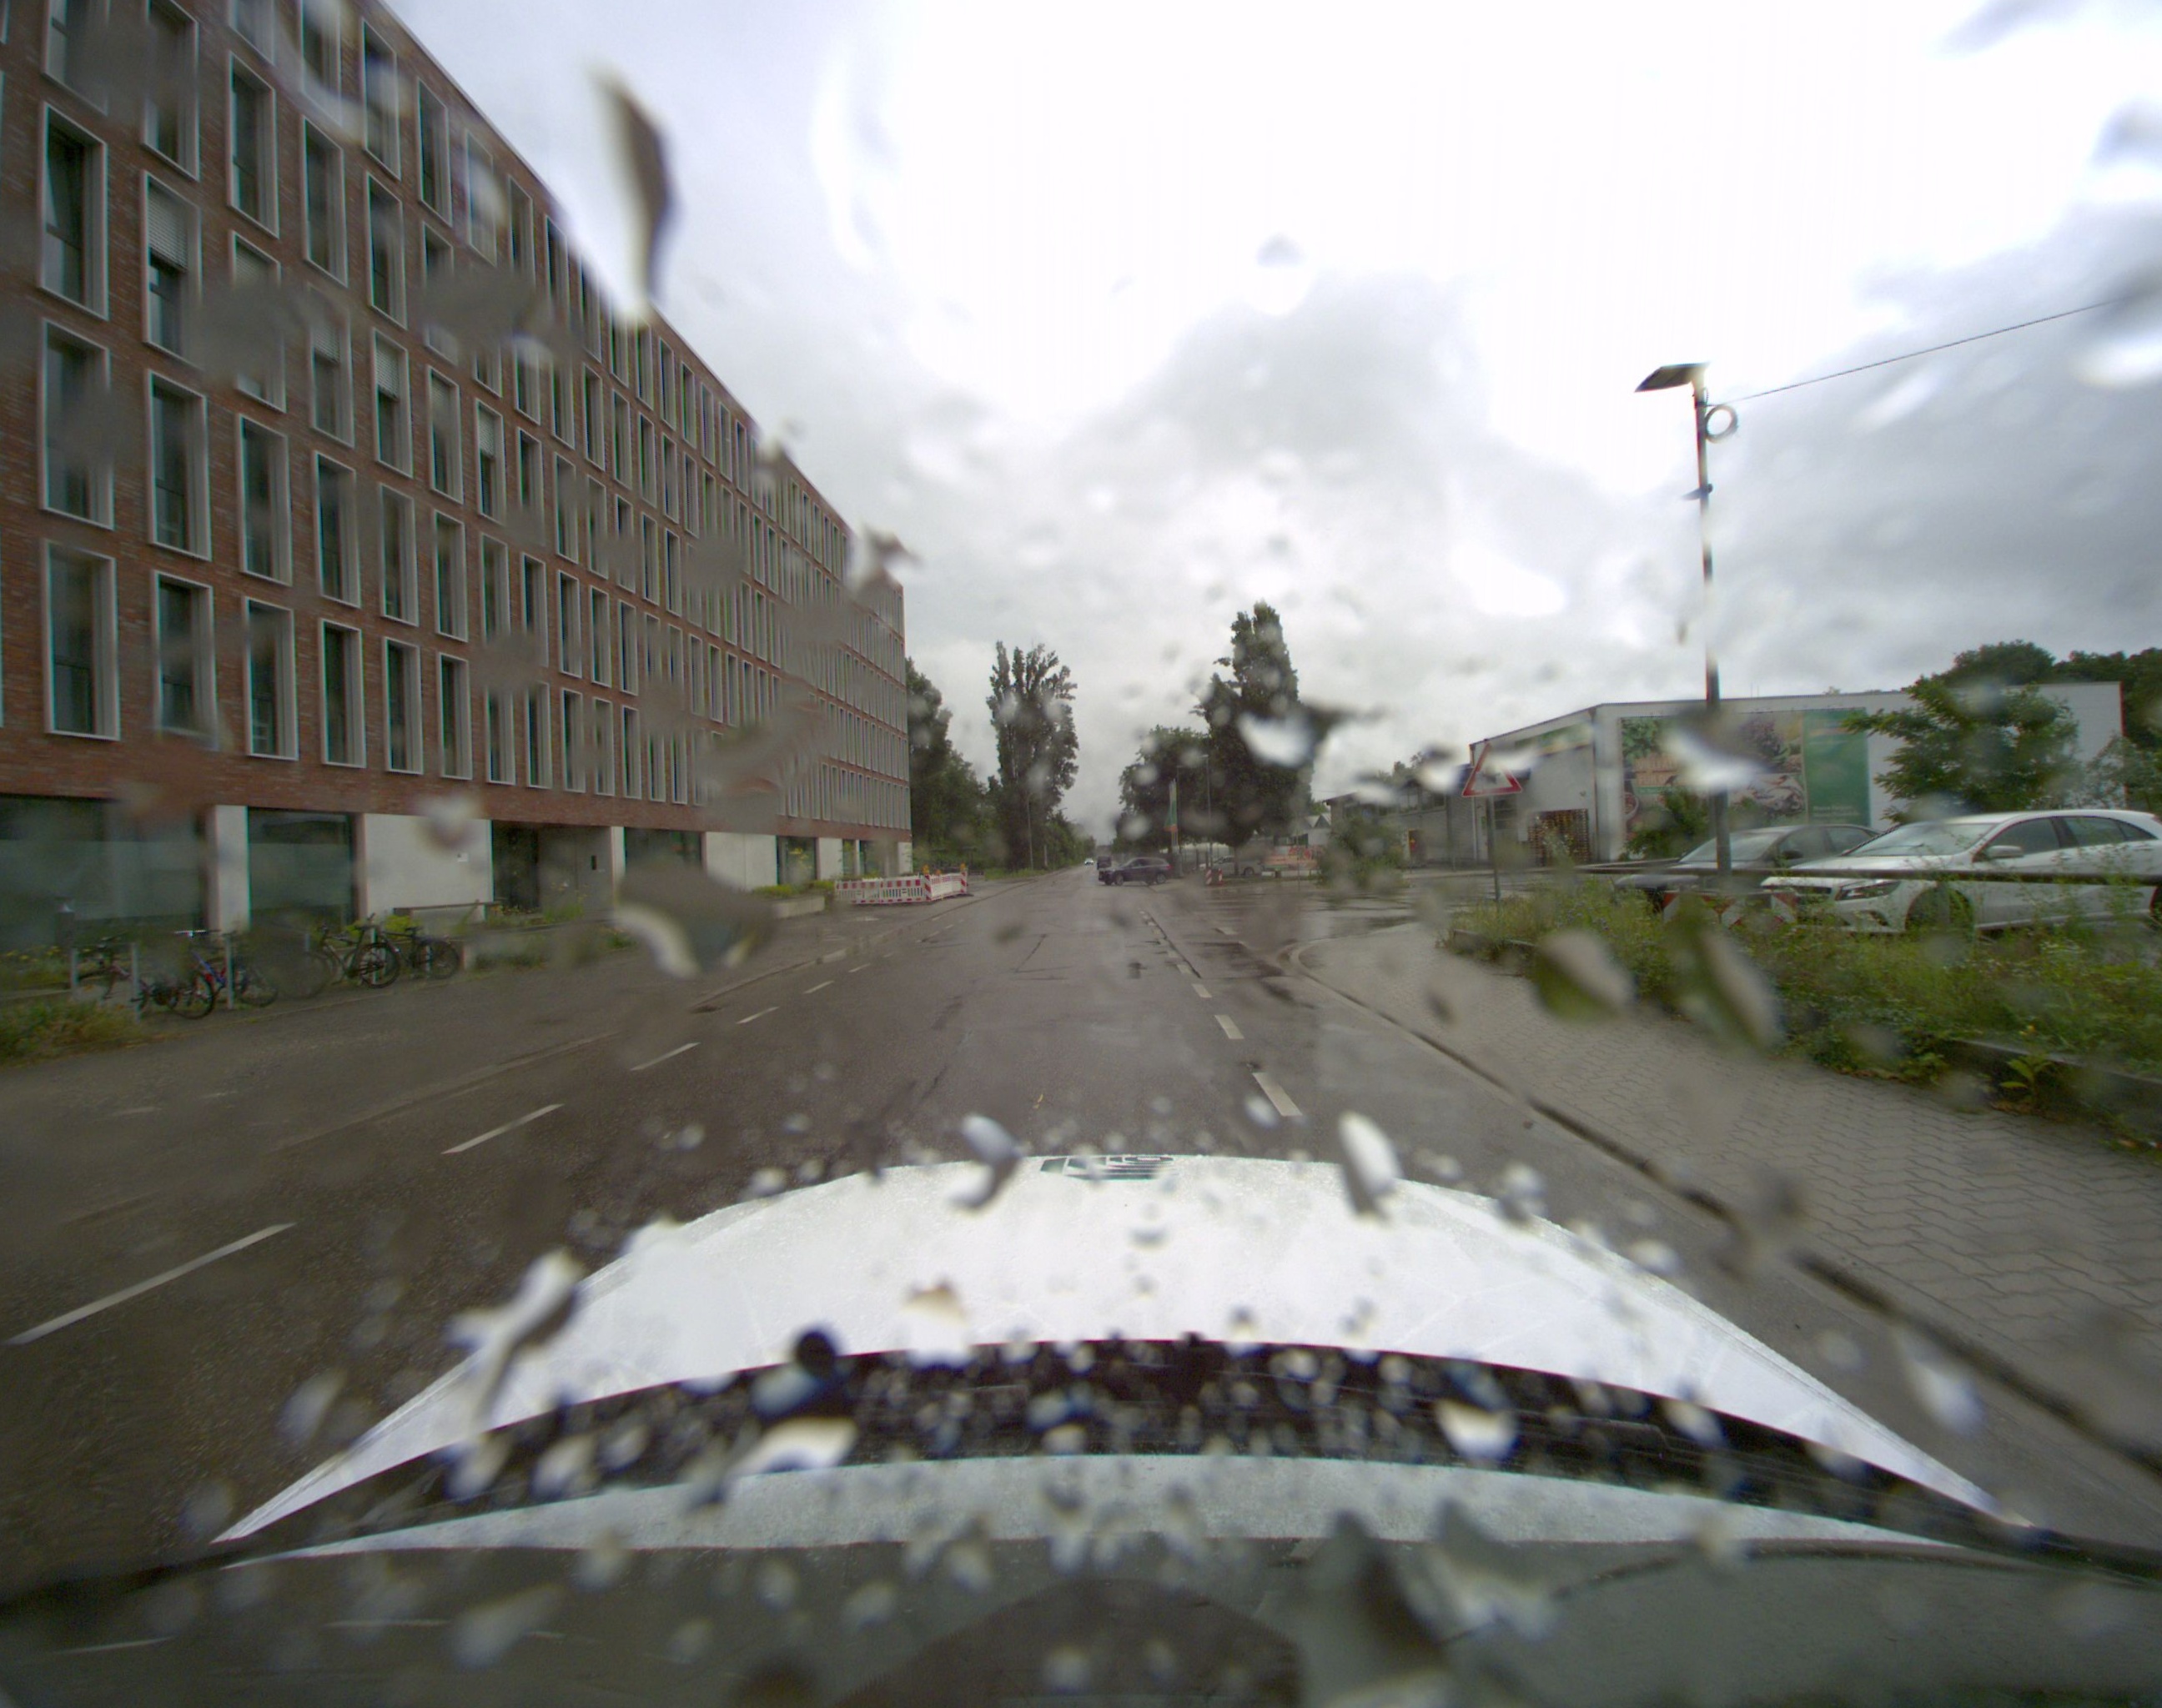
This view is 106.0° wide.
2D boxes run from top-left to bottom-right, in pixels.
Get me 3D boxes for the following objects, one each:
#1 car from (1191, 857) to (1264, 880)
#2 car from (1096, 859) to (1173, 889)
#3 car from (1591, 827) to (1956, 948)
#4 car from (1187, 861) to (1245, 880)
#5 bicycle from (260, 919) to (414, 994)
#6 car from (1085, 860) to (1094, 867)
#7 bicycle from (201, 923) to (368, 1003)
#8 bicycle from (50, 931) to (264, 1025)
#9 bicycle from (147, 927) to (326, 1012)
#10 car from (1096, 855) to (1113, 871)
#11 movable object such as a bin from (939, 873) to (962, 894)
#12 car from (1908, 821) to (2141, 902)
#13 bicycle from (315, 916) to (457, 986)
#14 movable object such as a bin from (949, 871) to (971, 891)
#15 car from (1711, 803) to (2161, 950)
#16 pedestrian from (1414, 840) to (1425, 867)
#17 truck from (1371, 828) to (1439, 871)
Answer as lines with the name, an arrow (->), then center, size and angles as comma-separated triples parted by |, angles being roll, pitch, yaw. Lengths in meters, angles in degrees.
car -> 10.133, 0.992, 56.584 | 4.688, 1.462, 1.890 | -2, -1, 0
car -> 3.179, 1.191, 48.366 | 4.147, 1.569, 1.754 | -3, -1, -18
car -> 10.606, 0.498, 12.656 | 4.213, 1.400, 1.886 | -4, -2, -7
car -> 9.838, 1.218, 59.434 | 3.925, 1.256, 1.618 | -1, -1, 0
bicycle -> -11.482, 1.579, 12.601 | 1.853, 1.077, 0.544 | -1, -2, 0
car -> 1.782, 2.019, 176.079 | 1.726, 1.450, 4.383 | -5, -1, 2
bicycle -> -11.490, 1.566, 11.772 | 1.853, 1.077, 0.544 | -1, -2, 0
bicycle -> -11.524, 1.535, 10.194 | 1.942, 1.077, 0.620 | -1, -2, 0
bicycle -> -11.512, 1.560, 11.133 | 1.853, 1.077, 0.544 | -1, -2, 0
car -> 2.903, 1.129, 102.959 | 1.987, 1.910, 4.201 | -3, -2, 1
movable object such as a bin -> -8.441, 1.890, 52.832 | 1.293, 1.308, 1.446 | -2, -1, -5
car -> 24.811, 0.194, 21.528 | 3.973, 1.922, 1.831 | -2, -1, 0
bicycle -> -11.439, 1.591, 13.441 | 1.853, 1.077, 0.544 | -1, -2, 0
movable object such as a bin -> -8.458, 1.872, 57.194 | 1.291, 1.332, 1.358 | -2, -1, 0
car -> 10.450, 0.273, 9.815 | 4.165, 1.510, 1.891 | -2, -2, 2
pedestrian -> 22.099, -0.026, 53.197 | 0.453, 1.718, 0.433 | -4, -1, 4
truck -> 22.553, -0.236, 57.114 | 2.290, 2.659, 7.426 | -4, -1, 5
